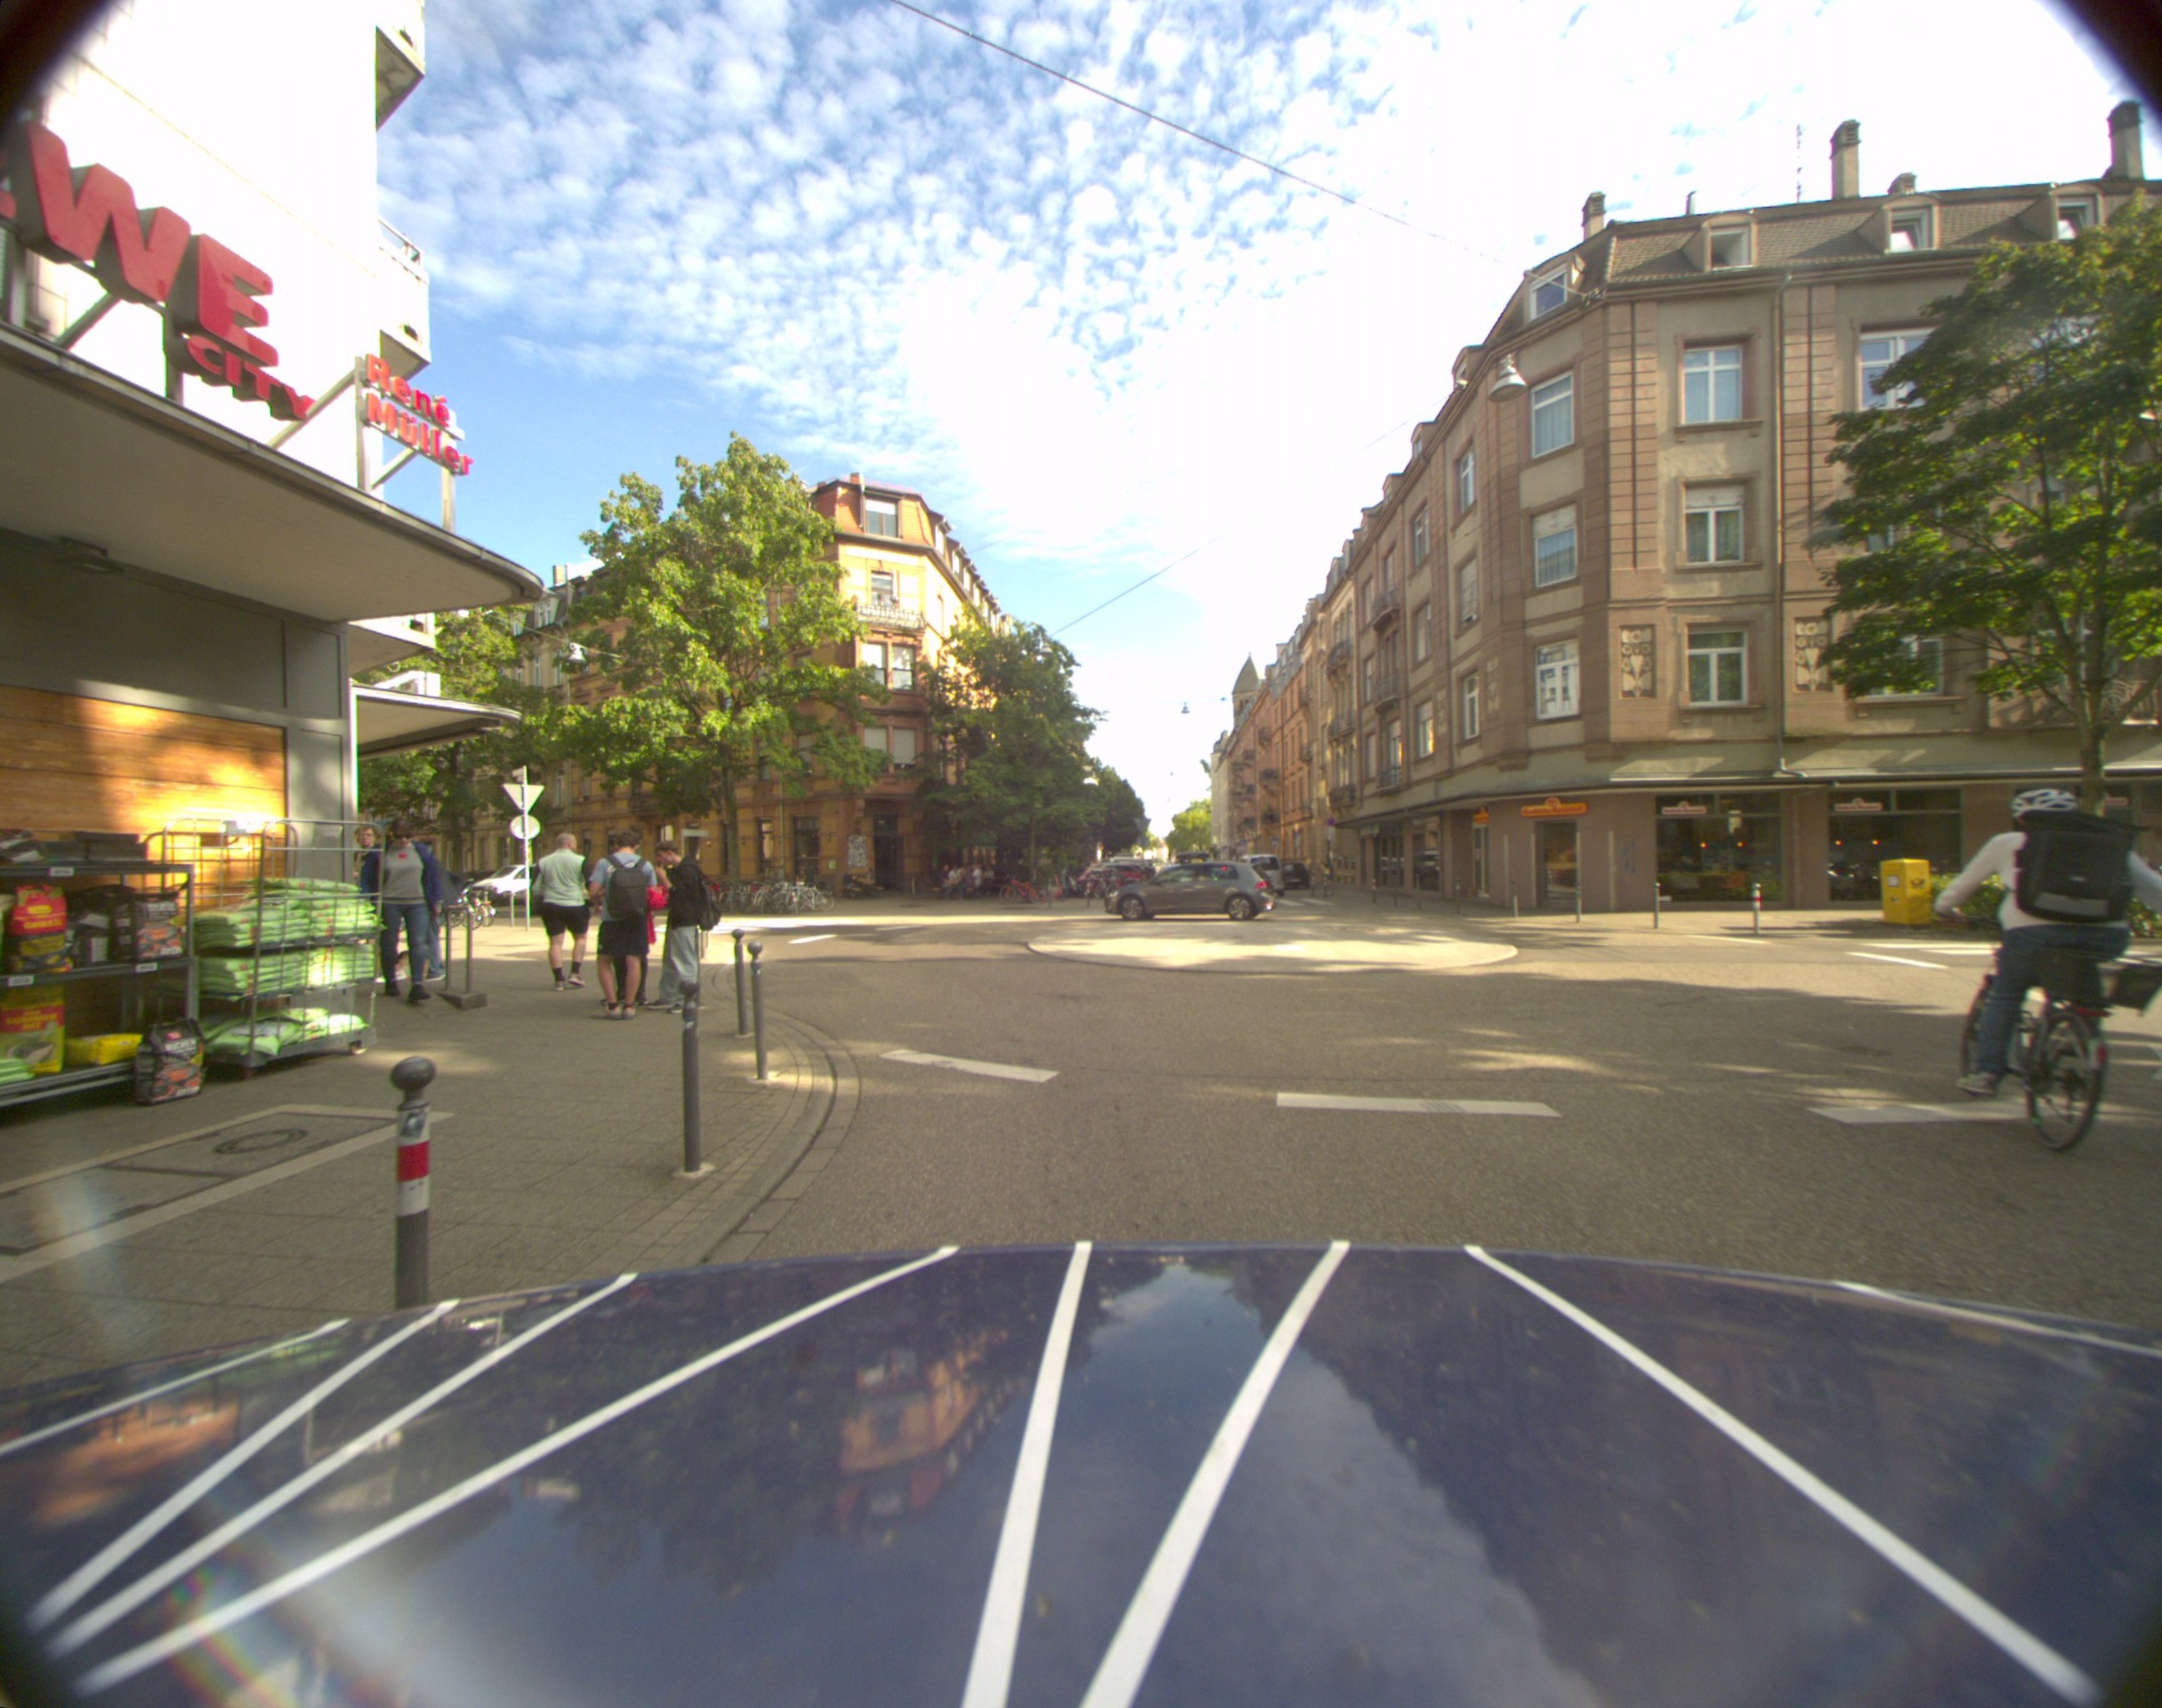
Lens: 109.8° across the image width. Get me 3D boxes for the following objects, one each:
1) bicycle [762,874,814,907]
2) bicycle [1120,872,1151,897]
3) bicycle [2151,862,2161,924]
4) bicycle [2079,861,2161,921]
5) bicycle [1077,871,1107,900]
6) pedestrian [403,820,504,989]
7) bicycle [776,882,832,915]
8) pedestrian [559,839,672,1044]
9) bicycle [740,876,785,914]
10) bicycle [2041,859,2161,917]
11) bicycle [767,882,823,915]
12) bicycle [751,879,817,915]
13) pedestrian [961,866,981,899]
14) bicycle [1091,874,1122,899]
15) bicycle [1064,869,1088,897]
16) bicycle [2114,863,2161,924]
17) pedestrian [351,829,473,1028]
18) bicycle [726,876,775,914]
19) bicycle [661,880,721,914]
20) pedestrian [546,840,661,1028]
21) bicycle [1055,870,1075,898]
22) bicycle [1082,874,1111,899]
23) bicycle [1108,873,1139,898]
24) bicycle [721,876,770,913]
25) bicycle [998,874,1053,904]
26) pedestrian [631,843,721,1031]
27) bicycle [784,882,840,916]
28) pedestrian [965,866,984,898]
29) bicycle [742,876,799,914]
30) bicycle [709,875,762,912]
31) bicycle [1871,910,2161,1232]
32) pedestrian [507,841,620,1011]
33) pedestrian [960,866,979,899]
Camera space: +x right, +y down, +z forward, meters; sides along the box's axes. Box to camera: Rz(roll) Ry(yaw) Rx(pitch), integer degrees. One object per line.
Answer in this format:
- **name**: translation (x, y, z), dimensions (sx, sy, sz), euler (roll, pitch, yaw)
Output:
- **bicycle**: translation (-11.205, 1.386, 29.115), dimensions (0.598, 1.108, 1.803), euler (0, 2, 35)
- **bicycle**: translation (2.300, 1.306, 32.450), dimensions (0.472, 0.979, 1.861), euler (1, 0, -25)
- **bicycle**: translation (21.119, 0.705, 13.835), dimensions (2.429, 1.127, 0.479), euler (-1, 0, 3)
- **bicycle**: translation (21.170, 0.707, 14.894), dimensions (2.429, 1.127, 0.479), euler (-1, 0, 3)
- **bicycle**: translation (0.450, 1.287, 31.710), dimensions (0.476, 1.136, 1.835), euler (1, 0, -25)
- **pedestrian**: translation (-7.917, 0.611, 9.637), dimensions (0.865, 2.001, 1.032), euler (1, -1, -34)
- **bicycle**: translation (-9.267, 1.478, 25.448), dimensions (0.447, 0.981, 1.716), euler (1, 2, 44)
- **pedestrian**: translation (-4.354, 0.773, 7.109), dimensions (0.712, 1.786, 0.634), euler (2, -1, 39)
- **bicycle**: translation (-11.145, 1.415, 26.635), dimensions (0.447, 1.195, 1.714), euler (-1, 2, 17)
- **bicycle**: translation (21.200, 0.689, 15.468), dimensions (2.429, 1.127, 0.580), euler (-1, 0, 3)
- **bicycle**: translation (-9.638, 1.488, 25.685), dimensions (0.447, 0.981, 1.716), euler (1, 2, 44)
- **bicycle**: translation (-10.078, 1.440, 25.872), dimensions (0.447, 1.082, 2.049), euler (1, 2, 44)
- **pedestrian**: translation (-4.464, 1.135, 30.860), dimensions (0.729, 1.307, 0.521), euler (-1, 0, -6)
- **bicycle**: translation (1.071, 1.352, 32.330), dimensions (0.472, 0.979, 1.861), euler (1, 0, -25)
- **bicycle**: translation (-0.216, 1.215, 32.010), dimensions (0.476, 1.094, 1.672), euler (1, 0, -19)
- **bicycle**: translation (21.134, 0.732, 14.357), dimensions (2.429, 1.127, 0.479), euler (-1, 0, 3)
- **pedestrian**: translation (-6.380, 0.656, 7.239), dimensions (0.928, 1.743, 0.767), euler (-1, 0, 43)
- **bicycle**: translation (-11.654, 1.439, 26.861), dimensions (0.447, 1.195, 1.715), euler (0, 2, 23)
- **bicycle**: translation (-13.776, 1.495, 26.807), dimensions (2.493, 1.090, 0.583), euler (-1, 4, 31)
- **pedestrian**: translation (-4.831, 0.775, 7.711), dimensions (0.654, 1.786, 0.660), euler (2, -1, 19)
- **bicycle**: translation (-0.682, 1.231, 31.835), dimensions (0.434, 1.094, 1.673), euler (1, 0, -14)
- **bicycle**: translation (0.641, 1.358, 32.129), dimensions (0.418, 0.979, 1.835), euler (1, 0, -25)
- **bicycle**: translation (1.791, 1.327, 32.471), dimensions (0.472, 0.979, 1.861), euler (1, 0, -25)
- **bicycle**: translation (-11.991, 1.432, 27.223), dimensions (0.447, 1.195, 1.715), euler (0, 2, 23)
- **bicycle**: translation (-1.980, 1.256, 27.255), dimensions (1.855, 1.029, 0.684), euler (-1, 0, 5)
- **pedestrian**: translation (-4.076, 0.799, 7.656), dimensions (0.716, 1.786, 0.631), euler (2, -1, -29)
- **bicycle**: translation (-8.899, 1.481, 25.180), dimensions (0.447, 0.964, 1.716), euler (1, 2, 44)
- **pedestrian**: translation (-4.425, 1.141, 31.469), dimensions (0.729, 1.307, 0.607), euler (-1, 0, -6)
- **bicycle**: translation (-10.651, 1.392, 26.106), dimensions (0.447, 1.195, 1.716), euler (1, 3, 44)
- **bicycle**: translation (-12.466, 1.417, 27.490), dimensions (0.447, 1.195, 1.715), euler (0, 2, 35)
- **bicycle**: translation (5.213, 0.972, 3.995), dimensions (0.701, 1.213, 2.120), euler (0, 0, 23)
- **pedestrian**: translation (-6.013, 0.770, 8.820), dimensions (1.044, 1.824, 0.889), euler (2, 1, 45)
- **pedestrian**: translation (-4.452, 1.128, 30.342), dimensions (0.729, 1.307, 0.521), euler (-1, 0, -6)
